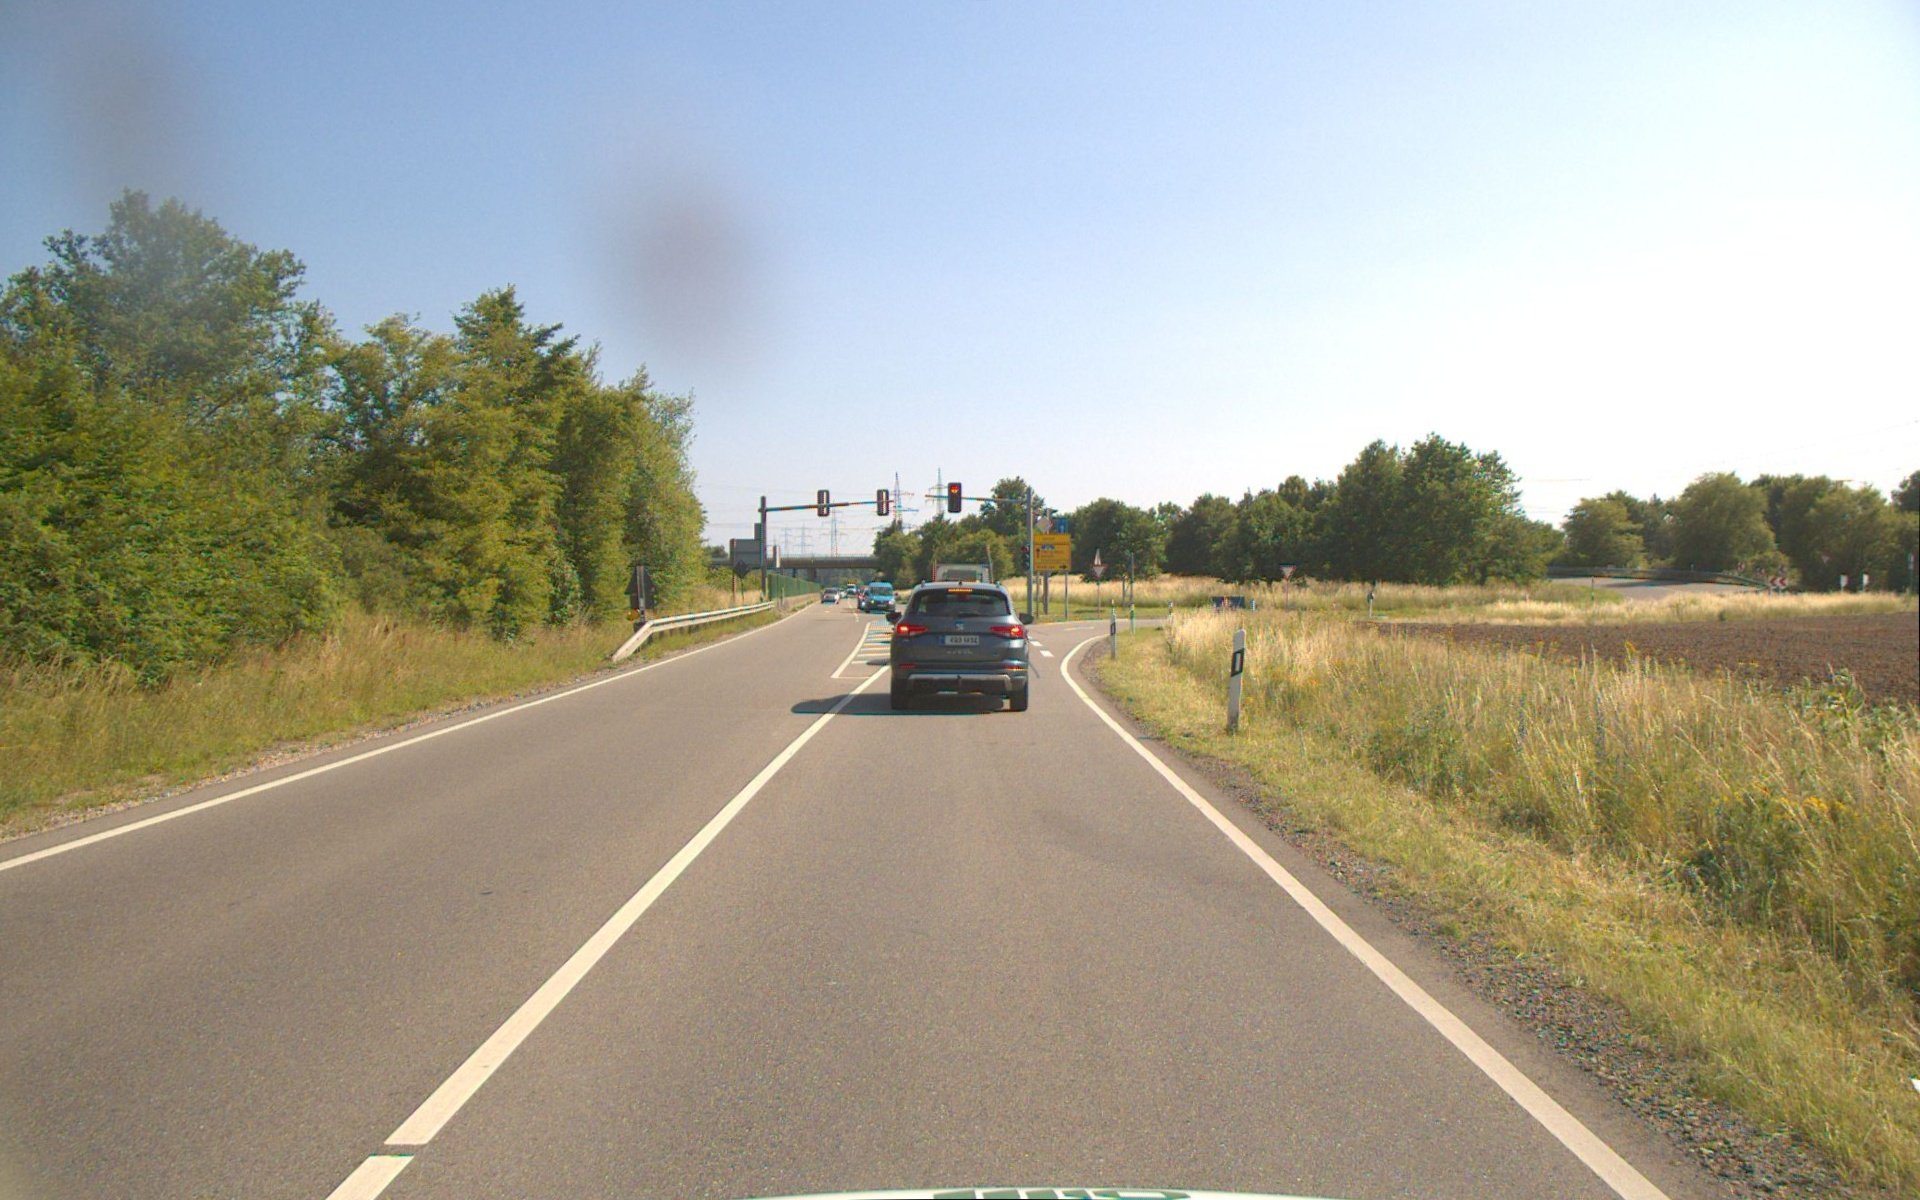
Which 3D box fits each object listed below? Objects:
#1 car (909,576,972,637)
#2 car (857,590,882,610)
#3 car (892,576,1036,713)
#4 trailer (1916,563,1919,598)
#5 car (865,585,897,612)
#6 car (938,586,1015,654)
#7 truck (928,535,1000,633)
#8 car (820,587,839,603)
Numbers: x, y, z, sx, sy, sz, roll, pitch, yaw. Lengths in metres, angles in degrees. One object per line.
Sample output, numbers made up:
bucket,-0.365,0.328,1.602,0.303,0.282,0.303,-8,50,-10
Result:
car,-0.593,0.151,48.376,1.749,1.705,3.999,0,1,-2
car,-6.502,-0.028,118.743,1.651,1.404,3.530,0,1,-5
car,0.002,0.510,22.094,1.749,1.657,3.999,0,1,-1
trailer,93.551,-1.776,151.891,3.218,3.324,13.448,0,1,-2
car,-4.795,-0.097,99.971,1.781,1.567,3.996,-1,1,-5
car,0.371,0.458,41.062,1.749,1.570,3.999,0,1,-2
truck,0.117,-0.516,55.914,2.290,3.120,5.809,0,0,0
car,-12.576,-0.517,159.106,1.789,1.456,3.996,-1,1,-5
